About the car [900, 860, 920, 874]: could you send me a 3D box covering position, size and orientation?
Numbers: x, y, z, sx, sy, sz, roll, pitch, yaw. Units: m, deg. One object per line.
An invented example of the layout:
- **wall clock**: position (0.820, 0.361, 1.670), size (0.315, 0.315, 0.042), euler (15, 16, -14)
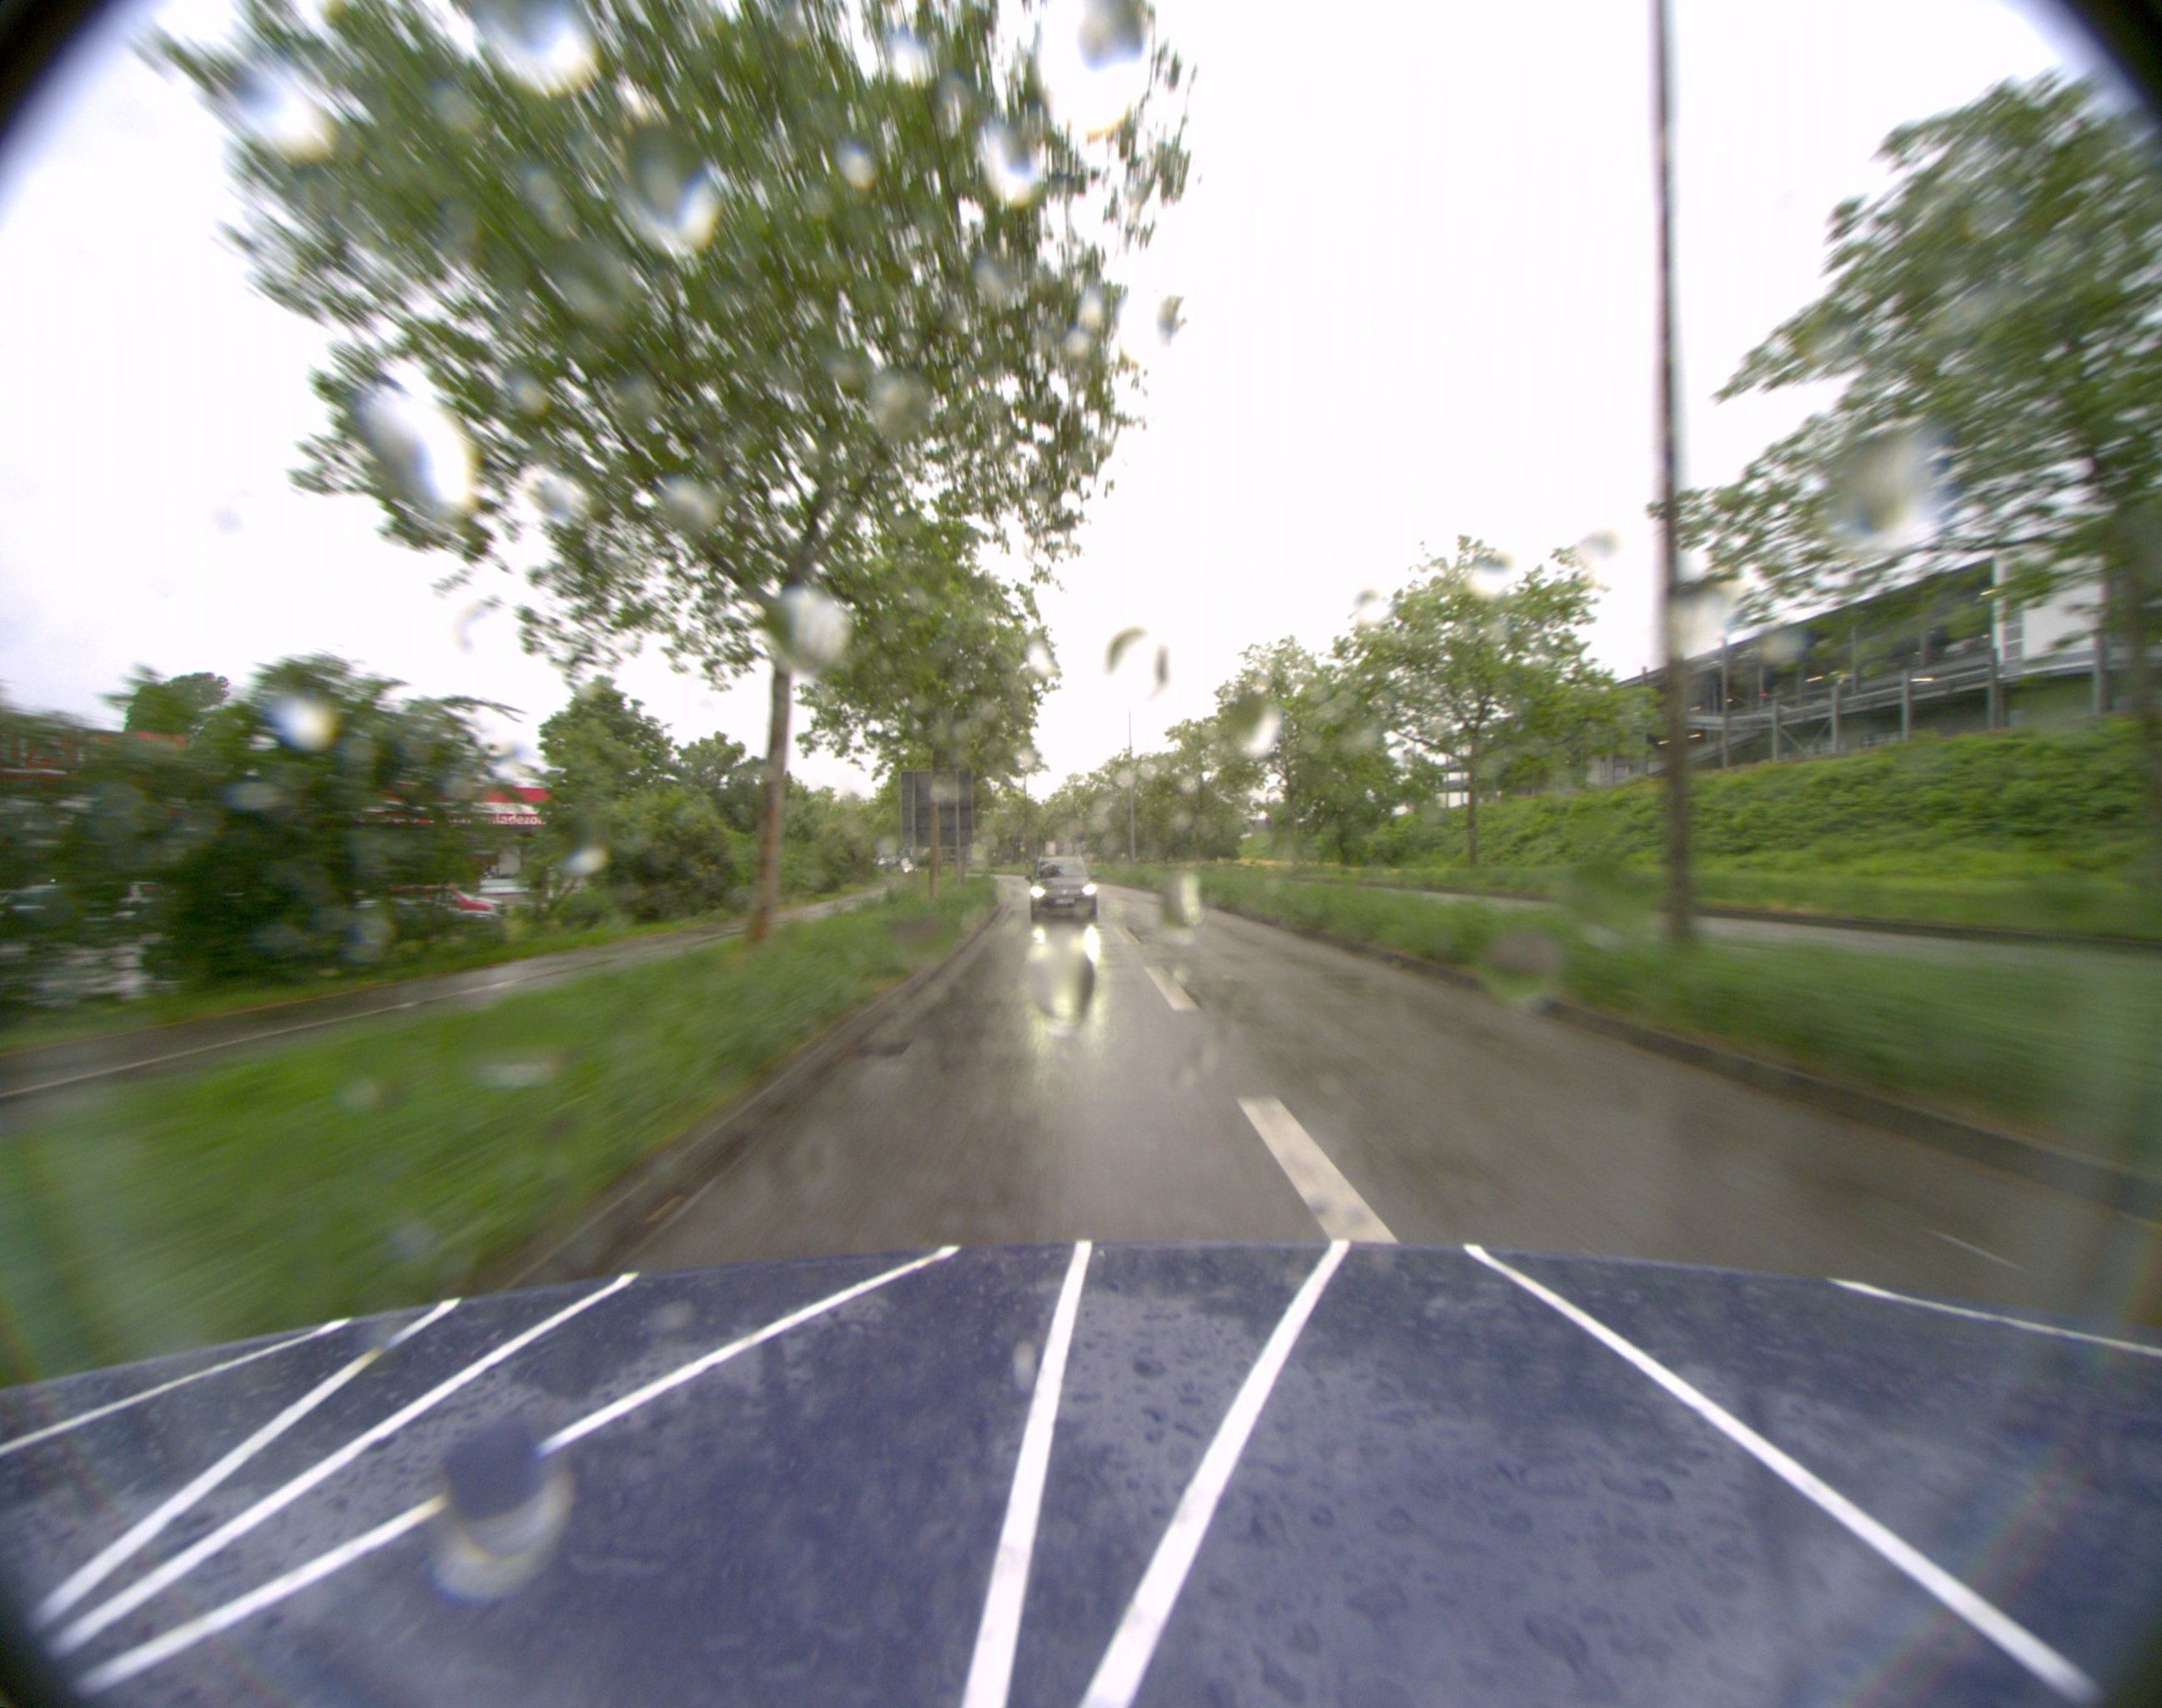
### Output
- **car**: position (-22.362, 1.711, 99.345), size (2.002, 1.641, 3.993), euler (-3, 1, -21)

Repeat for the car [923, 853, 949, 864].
- **car**: position (-25.036, 0.702, 131.087), size (1.860, 1.650, 4.007), euler (-2, 2, 40)

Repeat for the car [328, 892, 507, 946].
- **car**: position (-21.722, 2.079, 25.137), size (4.303, 1.363, 1.750), euler (-2, 1, -38)

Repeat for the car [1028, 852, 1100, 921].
- **car**: position (-0.536, 0.834, 22.042), size (1.788, 1.605, 4.715), euler (-4, 1, -2)

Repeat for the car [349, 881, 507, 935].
- **car**: position (-24.477, 1.970, 28.717), size (4.302, 1.664, 1.750), euler (-2, 1, -35)

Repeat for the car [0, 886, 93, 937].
- **car**: position (-40.560, 2.207, 29.565), size (1.758, 1.734, 3.610), euler (-3, 1, -40)

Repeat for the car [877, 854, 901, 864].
- **car**: position (-35.921, 0.976, 142.249), size (1.860, 1.650, 4.007), euler (-2, 2, 40)

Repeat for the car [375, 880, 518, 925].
- **car**: position (-25.925, 1.926, 31.267), size (4.302, 1.510, 1.750), euler (-2, 1, -35)
